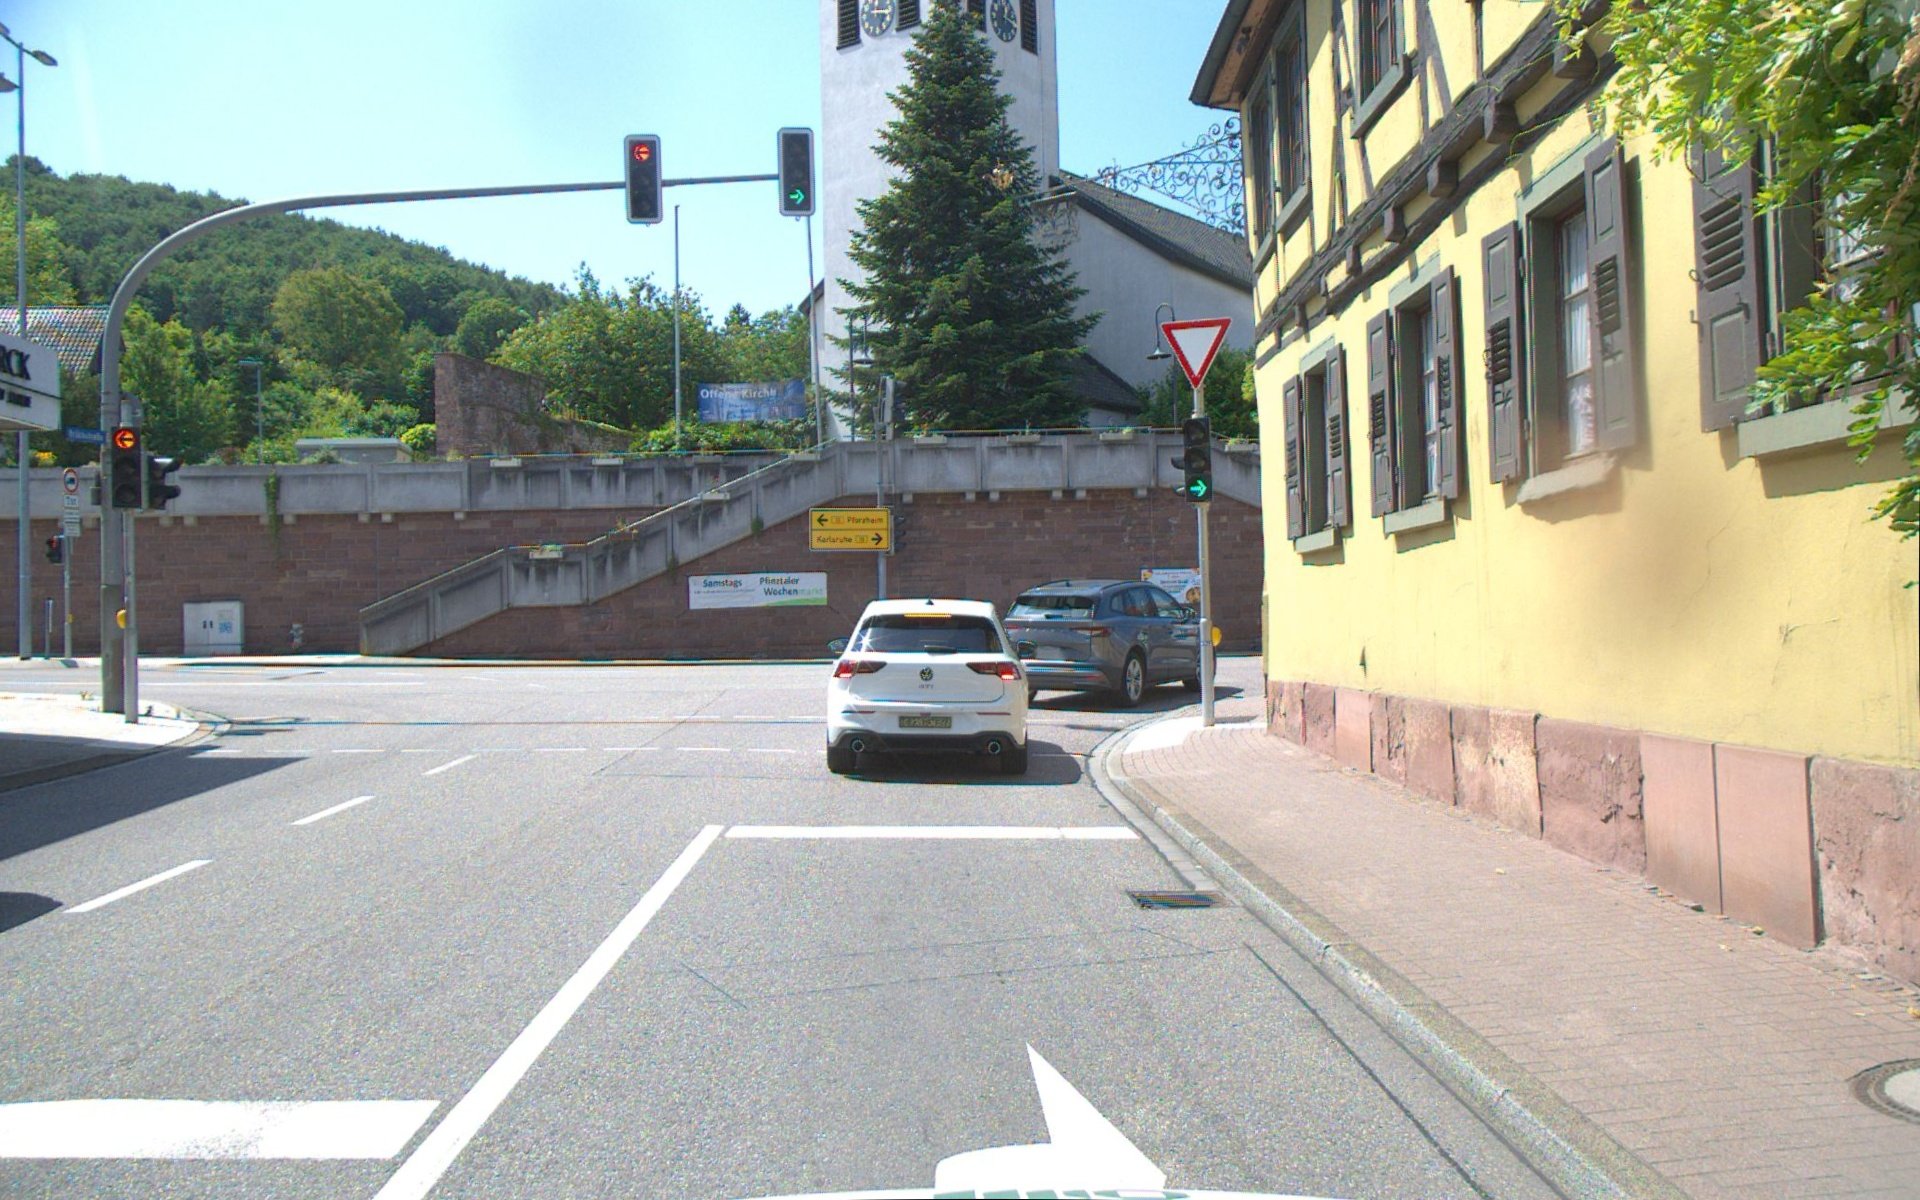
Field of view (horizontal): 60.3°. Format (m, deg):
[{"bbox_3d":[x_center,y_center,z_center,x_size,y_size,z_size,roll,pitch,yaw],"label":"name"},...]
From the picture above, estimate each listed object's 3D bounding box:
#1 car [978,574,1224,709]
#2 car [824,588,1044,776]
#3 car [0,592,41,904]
[{"bbox_3d":[2.077,0.487,23.034,1.911,1.610,4.321,0,2,27],"label":"car"},{"bbox_3d":[-0.193,0.671,15.306,1.746,1.484,3.863,-1,0,0],"label":"car"},{"bbox_3d":[-5.552,0.764,5.940,1.760,1.513,4.796,-4,0,0],"label":"car"}]
